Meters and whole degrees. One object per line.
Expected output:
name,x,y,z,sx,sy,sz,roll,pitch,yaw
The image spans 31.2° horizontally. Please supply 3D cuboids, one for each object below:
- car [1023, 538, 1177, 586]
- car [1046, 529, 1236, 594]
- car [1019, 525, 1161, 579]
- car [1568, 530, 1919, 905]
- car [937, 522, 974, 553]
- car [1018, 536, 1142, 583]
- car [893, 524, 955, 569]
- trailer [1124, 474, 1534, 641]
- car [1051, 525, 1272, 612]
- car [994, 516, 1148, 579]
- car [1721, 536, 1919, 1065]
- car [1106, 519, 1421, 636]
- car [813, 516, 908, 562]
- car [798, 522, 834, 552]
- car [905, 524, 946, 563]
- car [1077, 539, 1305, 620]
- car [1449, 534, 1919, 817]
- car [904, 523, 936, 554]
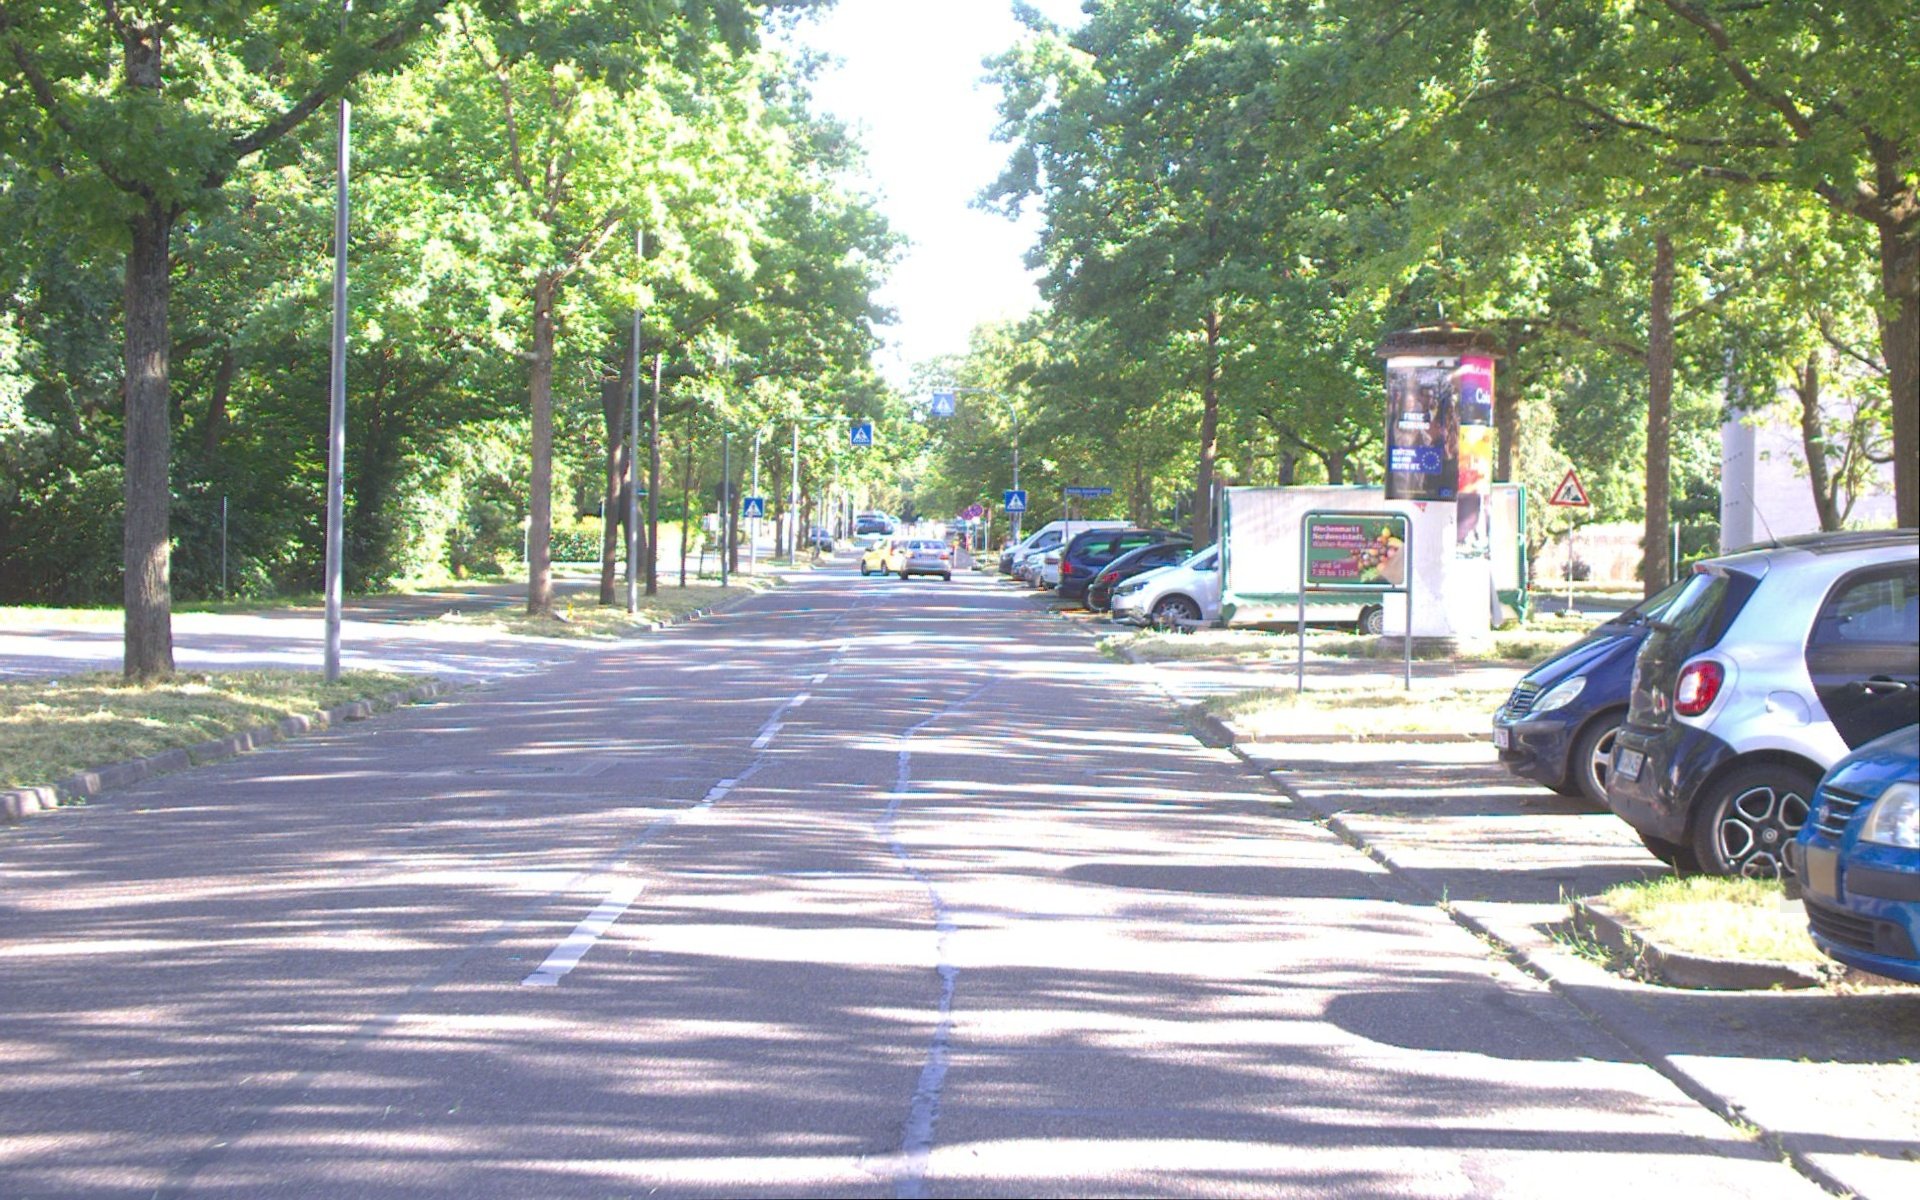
car,4.120,-1.124,101.794,4.445,1.385,1.911,0,1,0
car,4.527,-0.970,86.596,4.670,1.575,1.917,-1,1,0
car,4.116,-1.536,109.394,4.384,1.645,1.851,-1,1,-2
car,4.651,0.470,15.322,3.583,1.571,1.786,-1,1,1
car,-0.285,-3.569,196.450,1.993,1.711,4.000,2,1,-1
car,3.884,-1.321,111.934,3.987,1.428,1.901,1,1,1
car,-1.264,-1.863,119.388,1.993,1.479,4.000,1,1,-2
trailer,5.311,-0.620,49.954,5.775,2.310,1.686,-1,1,2
car,4.206,-0.674,72.310,4.530,1.795,1.936,0,1,0
car,3.845,-1.832,119.702,5.187,2.098,2.083,1,1,-2
car,4.311,0.552,10.711,3.521,1.527,1.665,-1,1,1
car,4.605,-0.357,52.693,4.642,1.716,1.988,-1,1,1
car,-3.722,-2.277,127.879,1.993,1.650,4.001,1,1,-26
car,-8.476,-3.725,202.544,1.993,1.711,4.000,2,1,-1
car,-1.773,-2.889,175.616,1.993,1.926,4.000,2,1,-1
car,4.372,-0.400,65.568,4.245,1.514,2.078,0,1,1
car,4.835,0.403,20.319,3.583,1.571,1.857,-1,1,-1
car,-2.627,-4.065,226.014,1.993,1.962,4.000,2,1,-1
